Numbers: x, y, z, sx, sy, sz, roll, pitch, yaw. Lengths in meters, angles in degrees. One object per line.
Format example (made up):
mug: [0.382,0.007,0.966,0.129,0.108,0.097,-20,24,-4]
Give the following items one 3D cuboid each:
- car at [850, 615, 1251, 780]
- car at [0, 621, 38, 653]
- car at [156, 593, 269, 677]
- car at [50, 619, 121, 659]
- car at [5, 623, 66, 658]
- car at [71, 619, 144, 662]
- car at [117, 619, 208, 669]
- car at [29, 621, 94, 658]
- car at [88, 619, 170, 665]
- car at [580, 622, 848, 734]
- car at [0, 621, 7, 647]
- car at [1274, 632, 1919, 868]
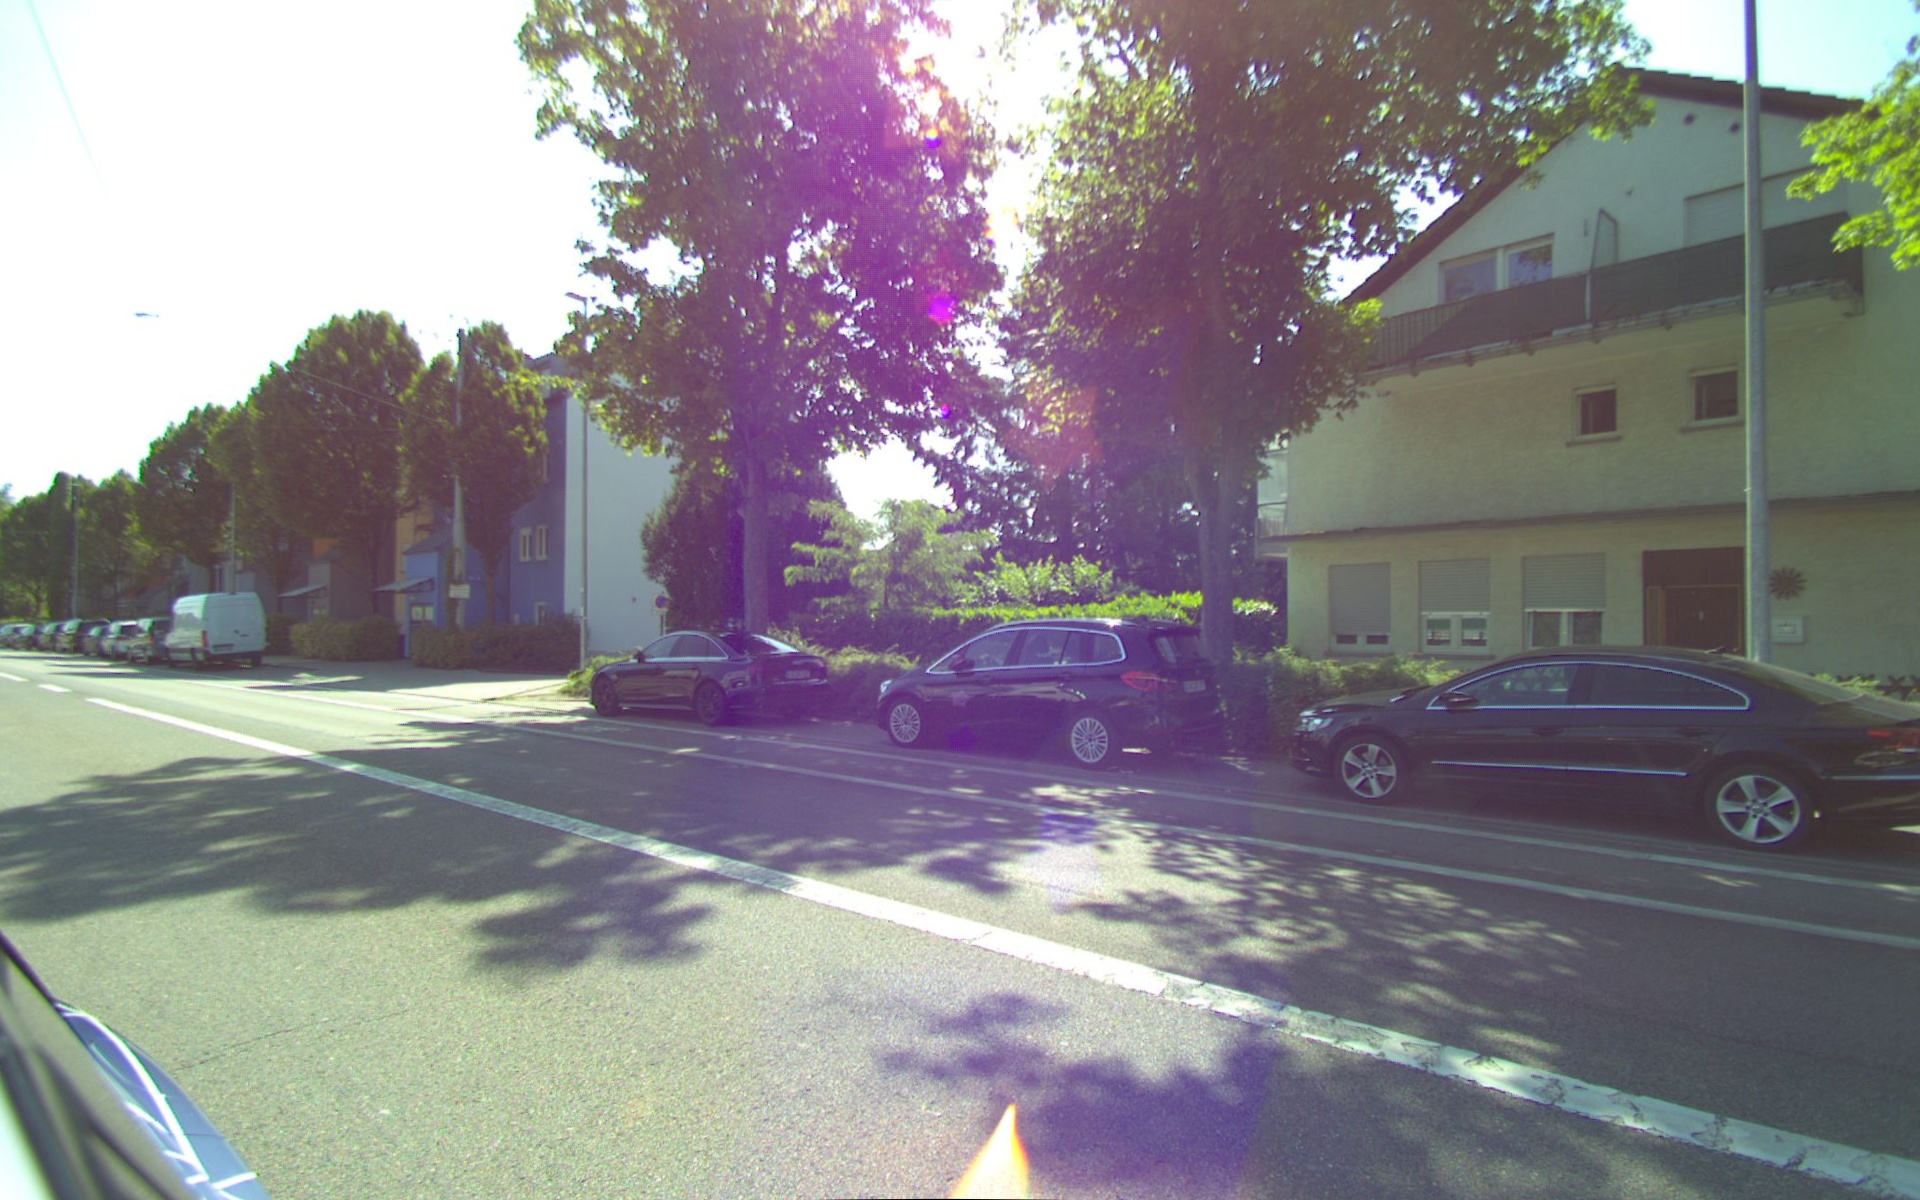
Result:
car: [0.930,1.020,12.239,4.619,1.583,1.844,-1,0,41]
car: [-60.268,2.354,64.197,4.766,1.818,1.974,-2,4,41]
car: [-27.373,1.240,36.951,6.213,2.713,1.973,-2,4,43]
car: [-45.855,2.024,53.027,4.766,1.818,1.974,-2,4,41]
car: [-54.906,2.376,60.099,4.766,1.818,1.974,-2,4,41]
car: [-42.124,1.981,49.993,4.254,1.818,1.974,-2,4,41]
car: [-33.519,1.811,42.500,4.766,1.818,1.974,-2,4,41]
car: [-50.291,2.200,56.603,4.766,1.818,1.974,-2,4,41]
car: [-38.056,1.877,46.317,4.766,1.818,1.974,-2,4,41]
car: [-4.114,1.159,16.530,4.616,1.583,1.845,-1,-2,39]
car: [-68.755,2.473,71.098,4.766,1.818,1.974,-2,4,41]
car: [5.213,1.015,8.417,4.619,1.426,1.844,-1,0,41]
